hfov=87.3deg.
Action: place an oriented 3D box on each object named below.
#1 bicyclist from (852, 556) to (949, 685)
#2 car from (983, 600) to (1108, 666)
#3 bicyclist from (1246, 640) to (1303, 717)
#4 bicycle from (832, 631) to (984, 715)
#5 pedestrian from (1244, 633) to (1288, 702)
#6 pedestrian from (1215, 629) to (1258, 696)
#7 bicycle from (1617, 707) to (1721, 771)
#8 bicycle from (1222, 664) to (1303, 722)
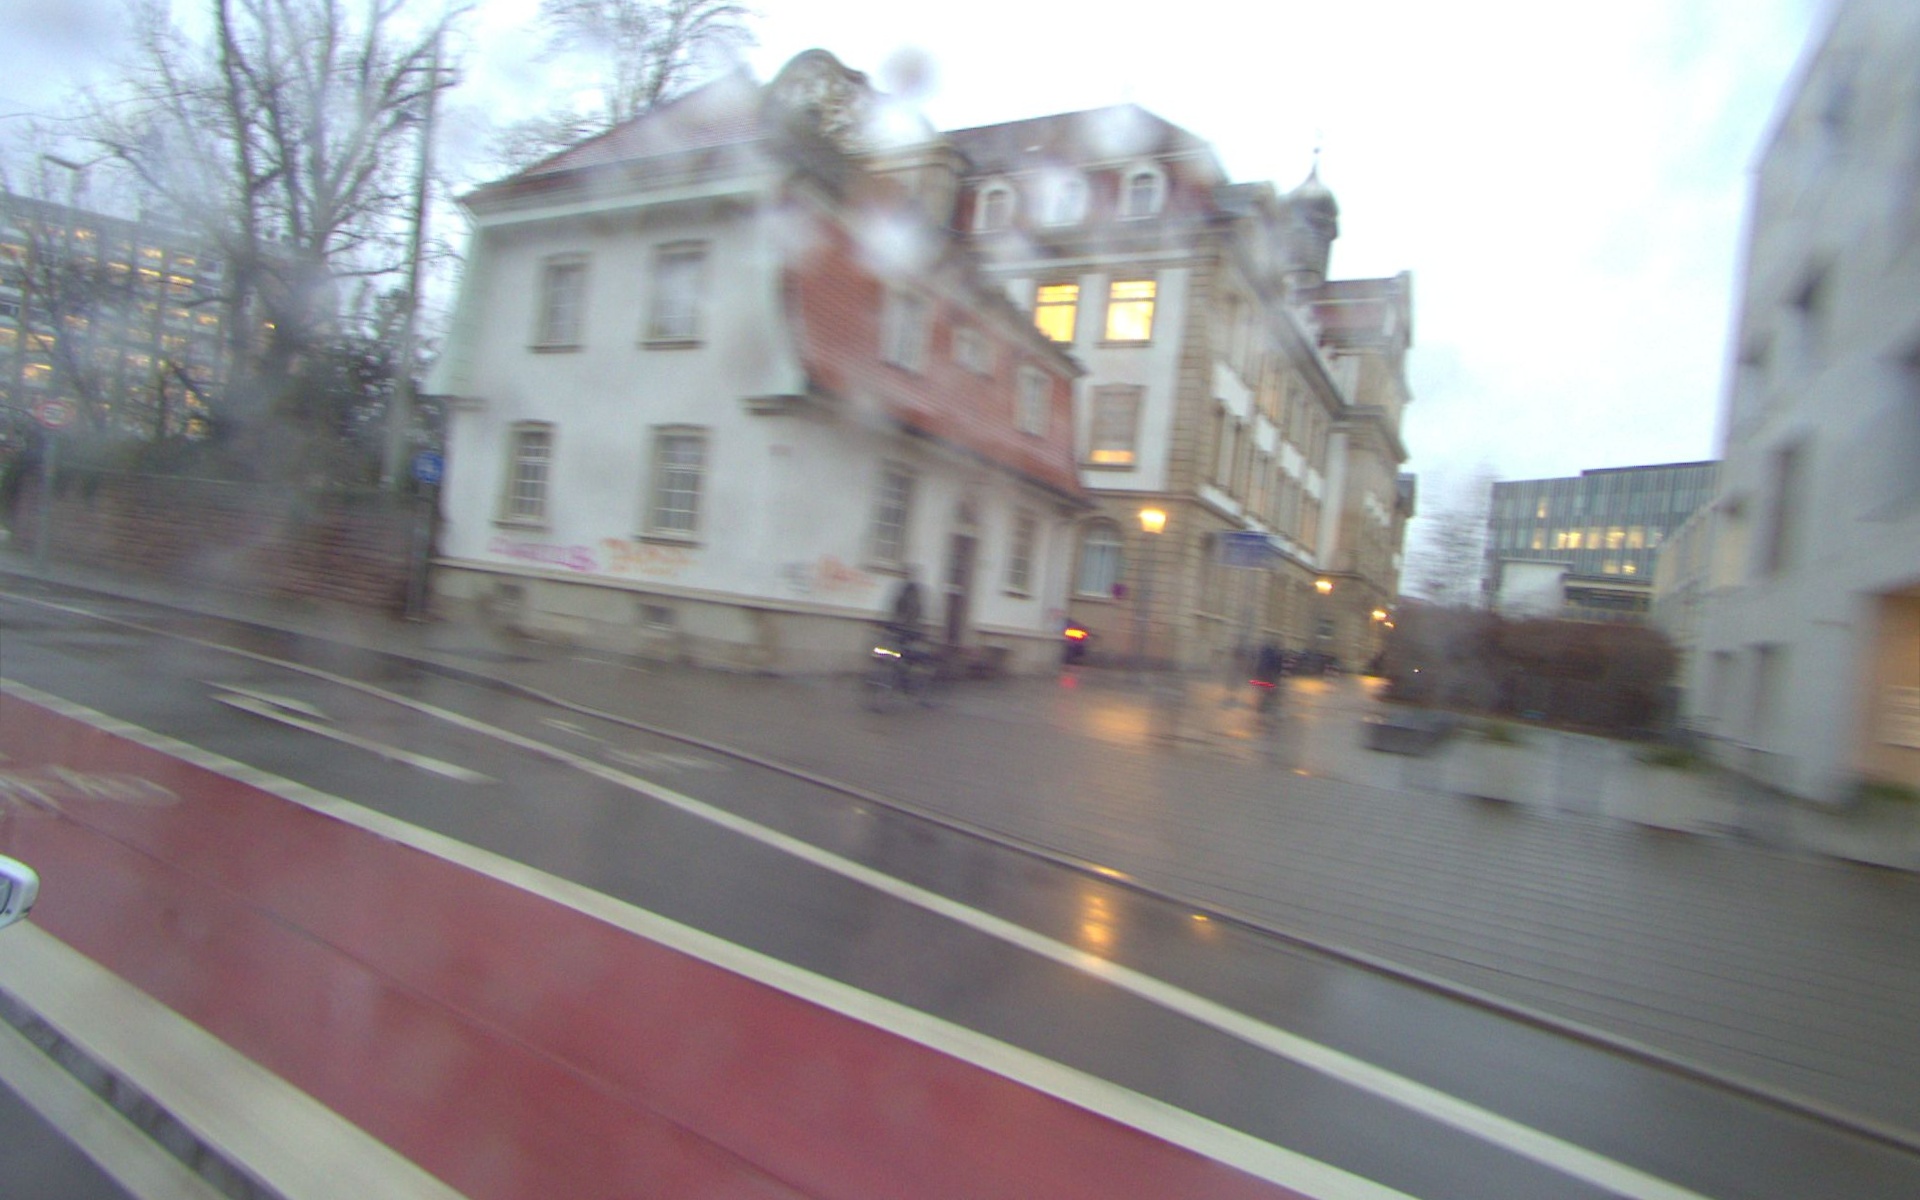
[{"bbox_3d":[-0.790,0.285,13.447,0.768,1.615,0.854,6,0,34],"label":"bicyclist"},{"bbox_3d":[2.844,1.084,33.638,3.616,1.680,1.756,6,-3,32],"label":"car"},{"bbox_3d":[6.357,1.585,20.334,0.725,1.425,0.860,6,-2,35],"label":"bicyclist"},{"bbox_3d":[-0.663,0.972,13.663,0.929,0.956,2.116,6,1,33],"label":"bicycle"},{"bbox_3d":[7.988,1.755,26.238,0.735,1.705,0.778,8,1,31],"label":"pedestrian"},{"bbox_3d":[7.326,1.649,26.675,0.735,1.664,0.778,8,1,31],"label":"pedestrian"},{"bbox_3d":[13.689,2.672,19.470,1.529,0.991,0.407,6,-1,33],"label":"bicycle"},{"bbox_3d":[6.078,1.879,20.136,0.890,0.956,2.016,6,-3,35],"label":"bicycle"}]
